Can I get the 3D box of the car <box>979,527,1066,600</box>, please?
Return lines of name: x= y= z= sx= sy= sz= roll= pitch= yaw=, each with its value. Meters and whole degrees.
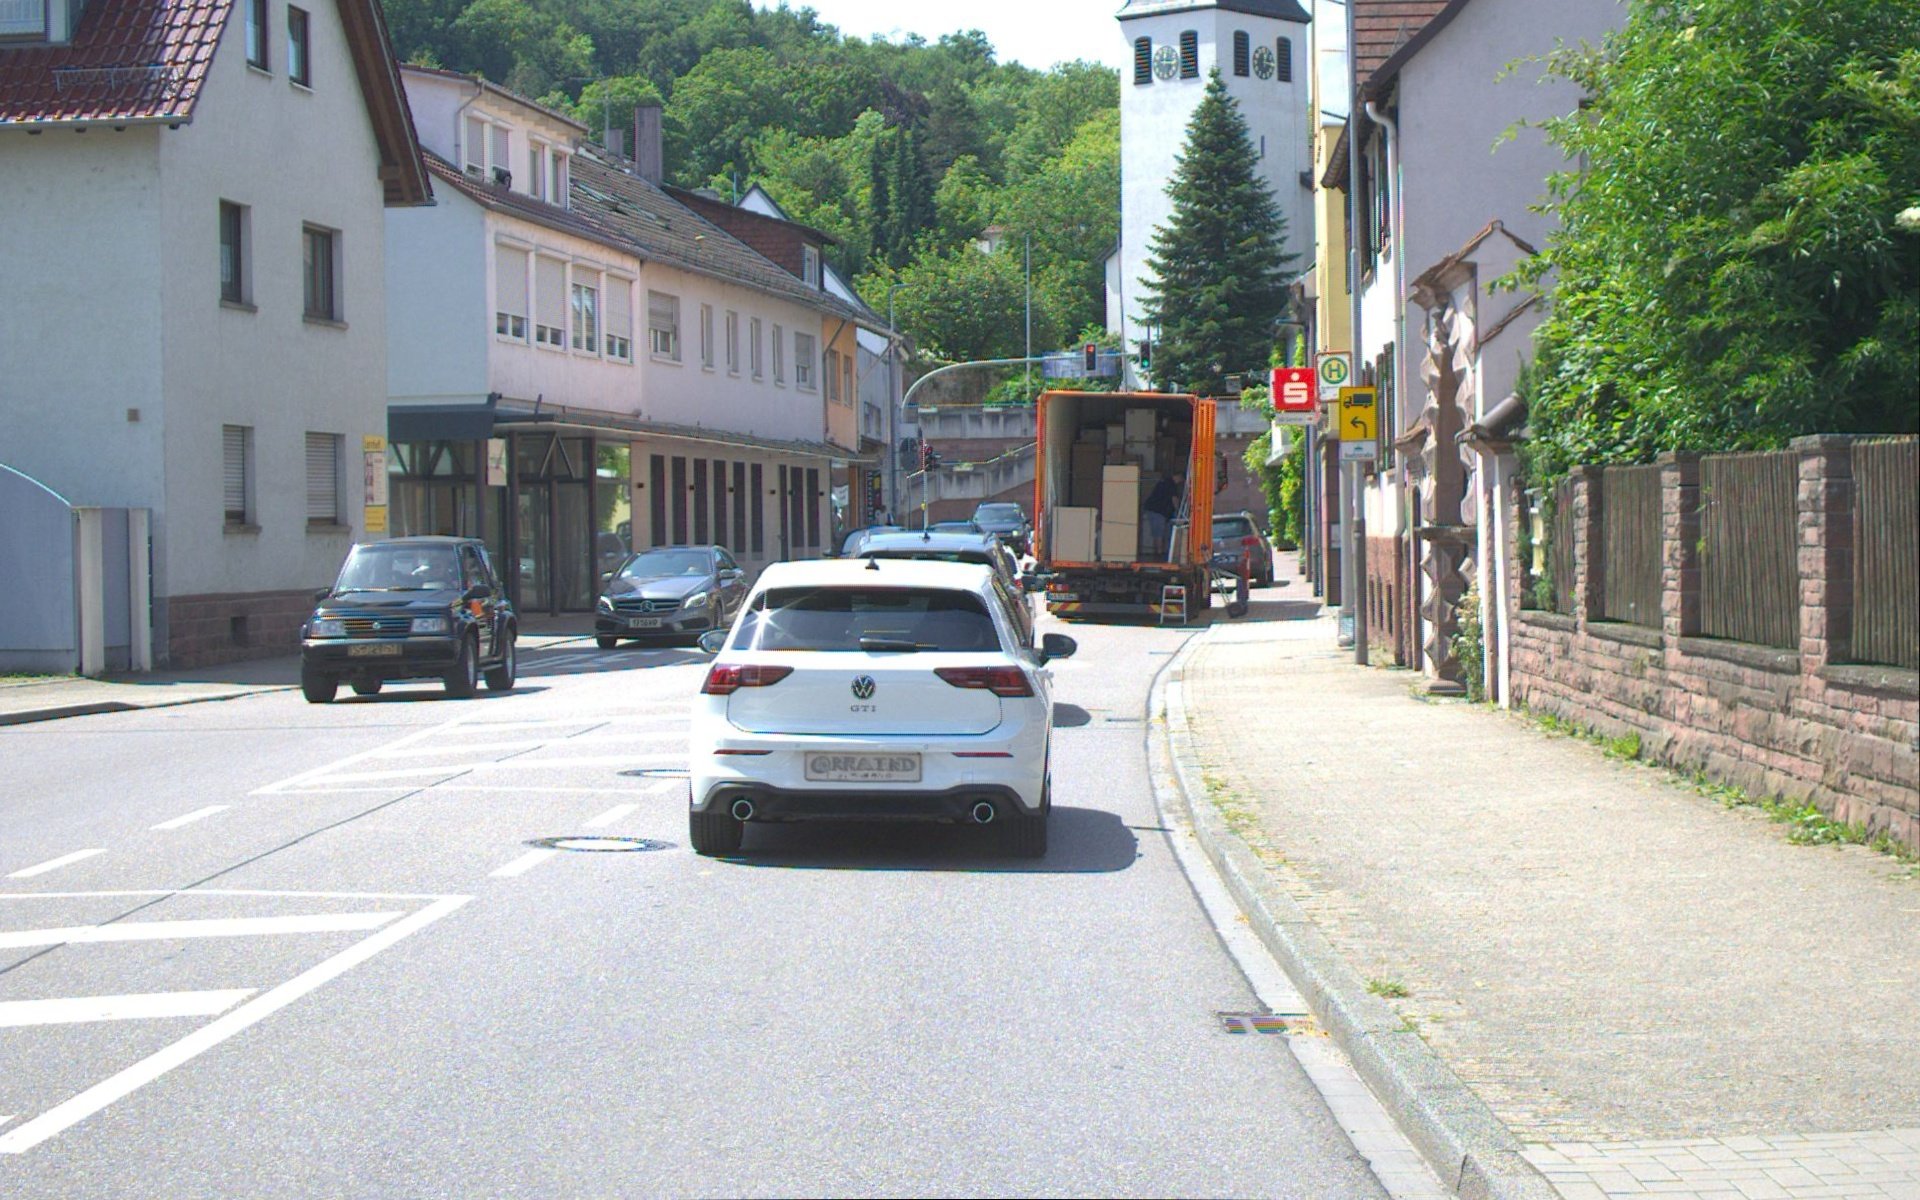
car: x=1.378 y=-0.812 z=75.842 sx=1.815 sy=1.514 sz=4.000 roll=-2 pitch=0 yaw=1

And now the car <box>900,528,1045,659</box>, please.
car: x=0.205 y=-0.103 z=46.137 sx=1.815 sy=1.623 sz=4.000 roll=-2 pitch=0 yaw=1

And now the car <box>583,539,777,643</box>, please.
car: x=-4.112 y=-0.152 z=51.173 sx=1.864 sy=1.437 sz=4.215 roll=-2 pitch=0 yaw=10

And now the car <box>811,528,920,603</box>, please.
car: x=-1.987 y=-0.743 z=73.530 sx=1.796 sy=1.503 sz=4.133 roll=-2 pitch=0 yaw=5

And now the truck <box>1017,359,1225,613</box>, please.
truck: x=2.996 y=-1.957 z=62.523 sx=3.367 sy=4.156 sz=9.518 roll=-2 pitch=0 yaw=4

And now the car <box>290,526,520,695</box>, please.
car: x=-5.703 y=0.068 z=35.704 sx=1.739 sy=1.645 sz=3.668 roll=-1 pitch=1 yaw=1

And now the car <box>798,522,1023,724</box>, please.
car: x=-0.371 y=0.176 z=30.567 sx=1.815 sy=1.623 sz=4.000 roll=-2 pitch=0 yaw=1

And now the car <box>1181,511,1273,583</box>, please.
car: x=6.010 y=-1.183 z=77.669 sx=1.815 sy=1.514 sz=4.000 roll=-2 pitch=0 yaw=1

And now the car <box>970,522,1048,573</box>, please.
car: x=1.514 y=-1.580 z=103.991 sx=1.863 sy=1.437 sz=4.216 roll=-2 pitch=0 yaw=7

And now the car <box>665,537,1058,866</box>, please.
car: x=-0.417 y=0.453 z=17.965 sx=1.815 sy=1.514 sz=4.000 roll=0 pitch=0 yaw=1
